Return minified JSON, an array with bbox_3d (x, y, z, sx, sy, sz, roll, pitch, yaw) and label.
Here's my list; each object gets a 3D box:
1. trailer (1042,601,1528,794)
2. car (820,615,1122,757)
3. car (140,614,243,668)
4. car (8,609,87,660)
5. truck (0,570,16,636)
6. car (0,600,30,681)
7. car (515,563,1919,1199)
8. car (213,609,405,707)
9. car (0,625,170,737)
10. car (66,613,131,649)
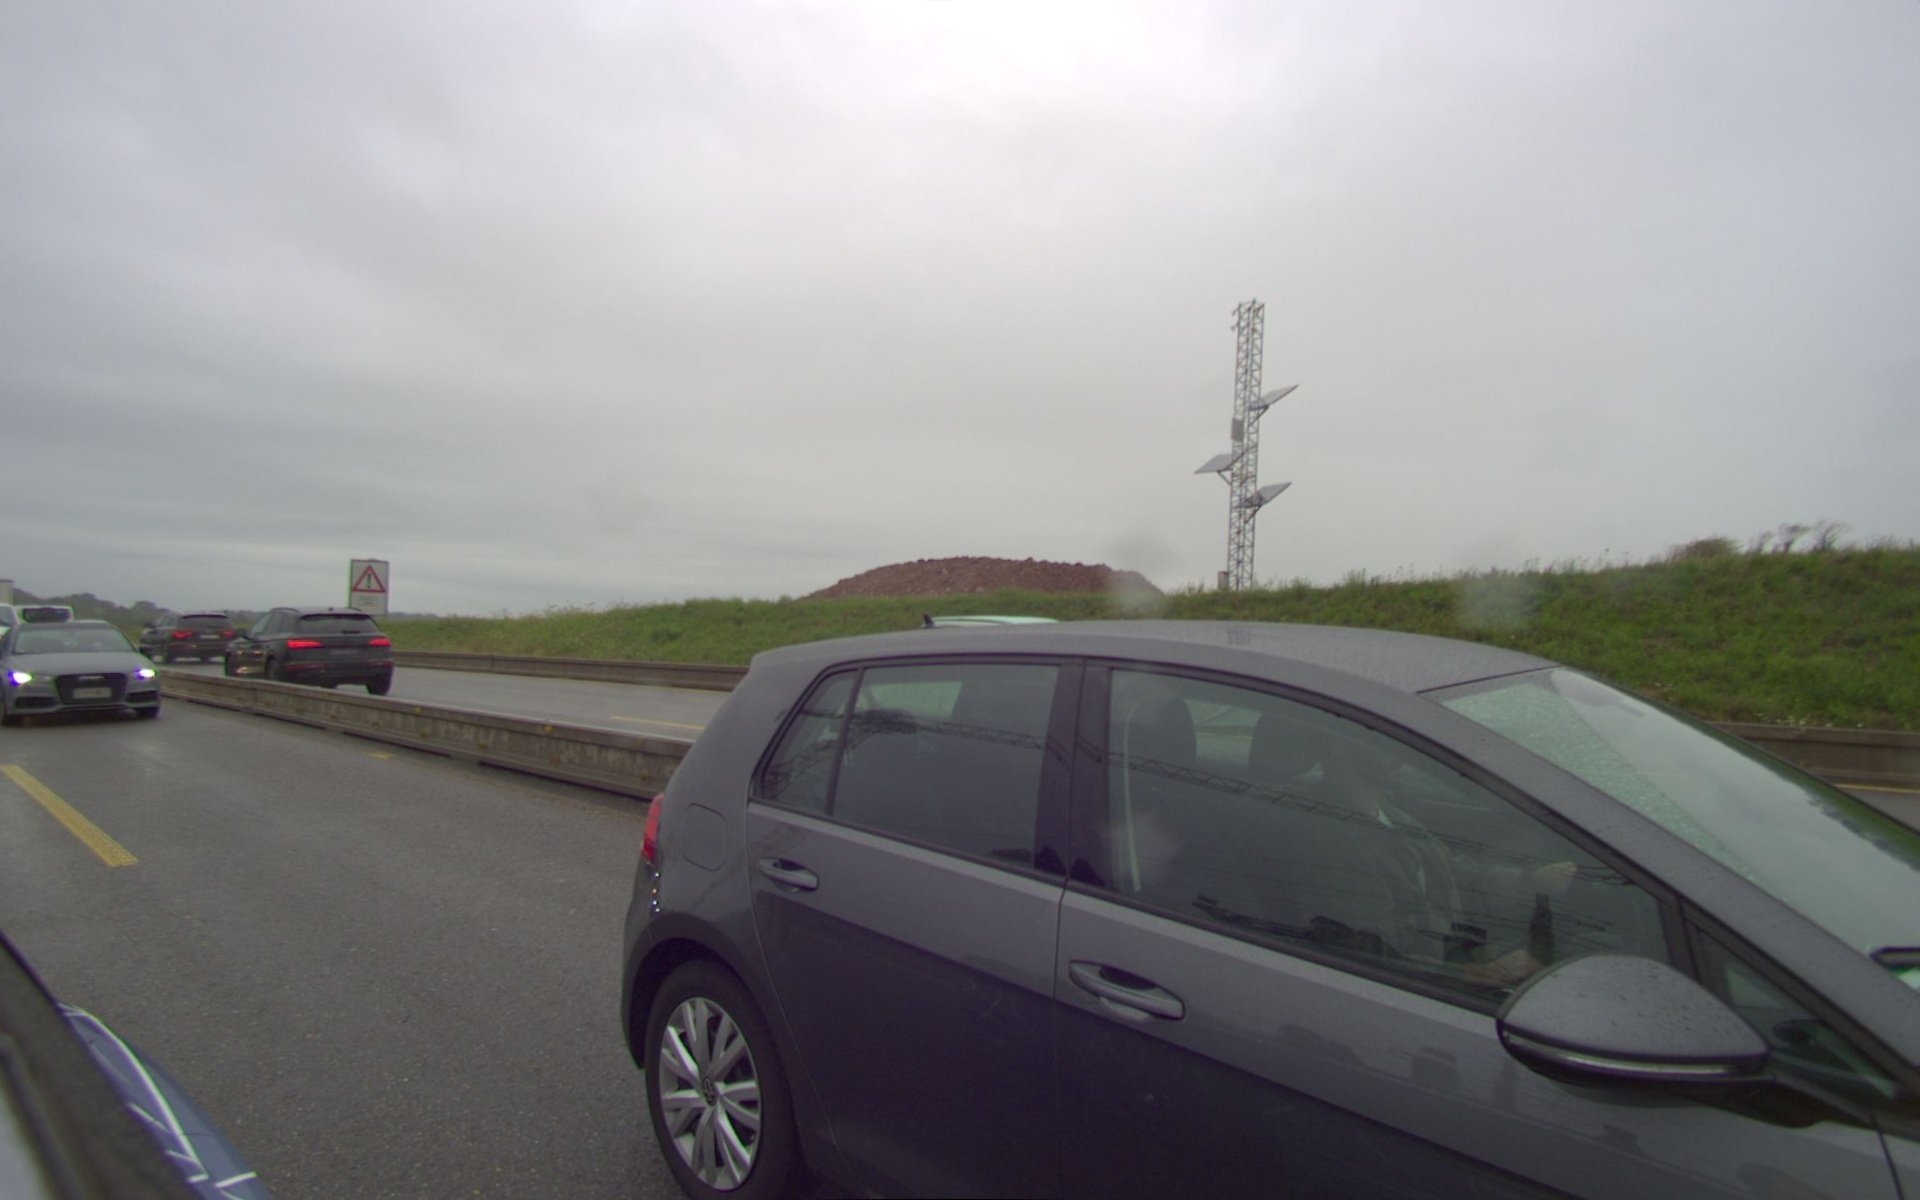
[{"bbox_3d":[2.945,0.778,9.722,4.159,1.475,1.613,0,-2,41],"label":"trailer"},{"bbox_3d":[0.035,0.947,12.421,3.715,1.475,1.344,0,-2,41],"label":"car"},{"bbox_3d":[-25.478,1.309,33.494,4.750,1.638,1.802,-1,0,41],"label":"car"},{"bbox_3d":[-34.155,1.249,37.842,3.998,1.805,1.749,-1,0,41],"label":"car"},{"bbox_3d":[-63.477,0.231,65.021,9.197,4.127,3.186,-1,0,41],"label":"truck"},{"bbox_3d":[-25.663,0.984,26.016,5.154,1.959,2.042,0,-1,41],"label":"car"},{"bbox_3d":[0.920,0.753,2.037,4.366,1.518,1.597,0,-2,41],"label":"car"},{"bbox_3d":[-12.313,0.990,19.027,4.307,1.605,1.922,0,-1,41],"label":"car"},{"bbox_3d":[-13.486,1.101,15.225,4.086,1.393,1.781,0,-1,41],"label":"car"},{"bbox_3d":[-39.935,1.419,46.873,3.998,1.552,1.749,-1,0,41],"label":"car"}]
